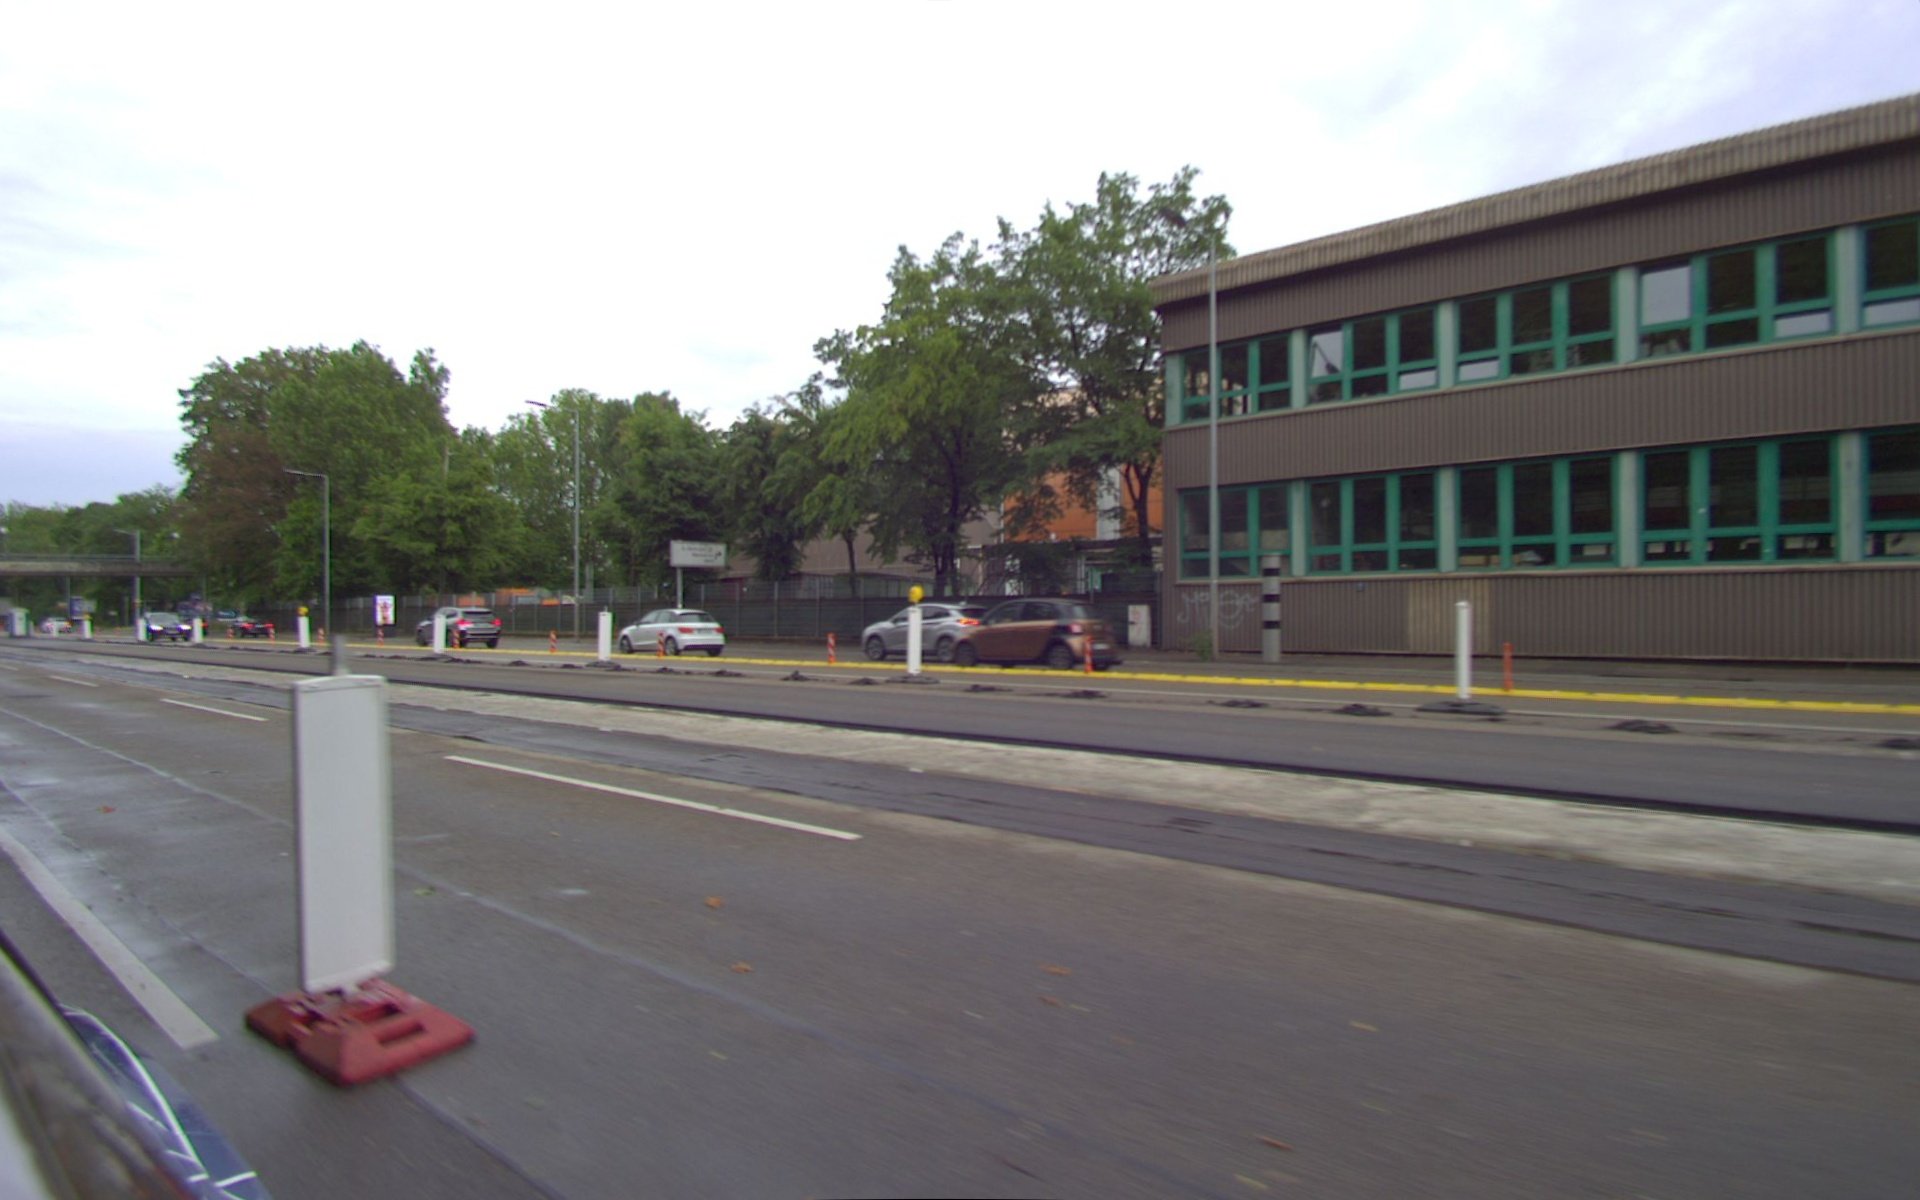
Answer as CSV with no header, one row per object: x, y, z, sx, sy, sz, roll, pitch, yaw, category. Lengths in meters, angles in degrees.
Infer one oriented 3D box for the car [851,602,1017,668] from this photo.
-0.749,0.894,27.052,4.176,1.598,1.973,-1,0,40,car

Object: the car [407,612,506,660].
-20.231,1.411,40.577,4.673,1.781,1.968,-1,0,42,car

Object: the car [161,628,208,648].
-59.309,2.917,77.363,4.261,1.440,1.974,-2,-1,39,car

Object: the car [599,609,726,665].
-9.059,1.083,30.695,3.989,1.546,1.785,-1,0,40,car

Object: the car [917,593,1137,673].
1.340,0.649,21.633,4.515,1.513,1.874,-1,0,42,car

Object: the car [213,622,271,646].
-47.570,2.194,67.011,4.761,1.465,2.025,-1,0,41,car
